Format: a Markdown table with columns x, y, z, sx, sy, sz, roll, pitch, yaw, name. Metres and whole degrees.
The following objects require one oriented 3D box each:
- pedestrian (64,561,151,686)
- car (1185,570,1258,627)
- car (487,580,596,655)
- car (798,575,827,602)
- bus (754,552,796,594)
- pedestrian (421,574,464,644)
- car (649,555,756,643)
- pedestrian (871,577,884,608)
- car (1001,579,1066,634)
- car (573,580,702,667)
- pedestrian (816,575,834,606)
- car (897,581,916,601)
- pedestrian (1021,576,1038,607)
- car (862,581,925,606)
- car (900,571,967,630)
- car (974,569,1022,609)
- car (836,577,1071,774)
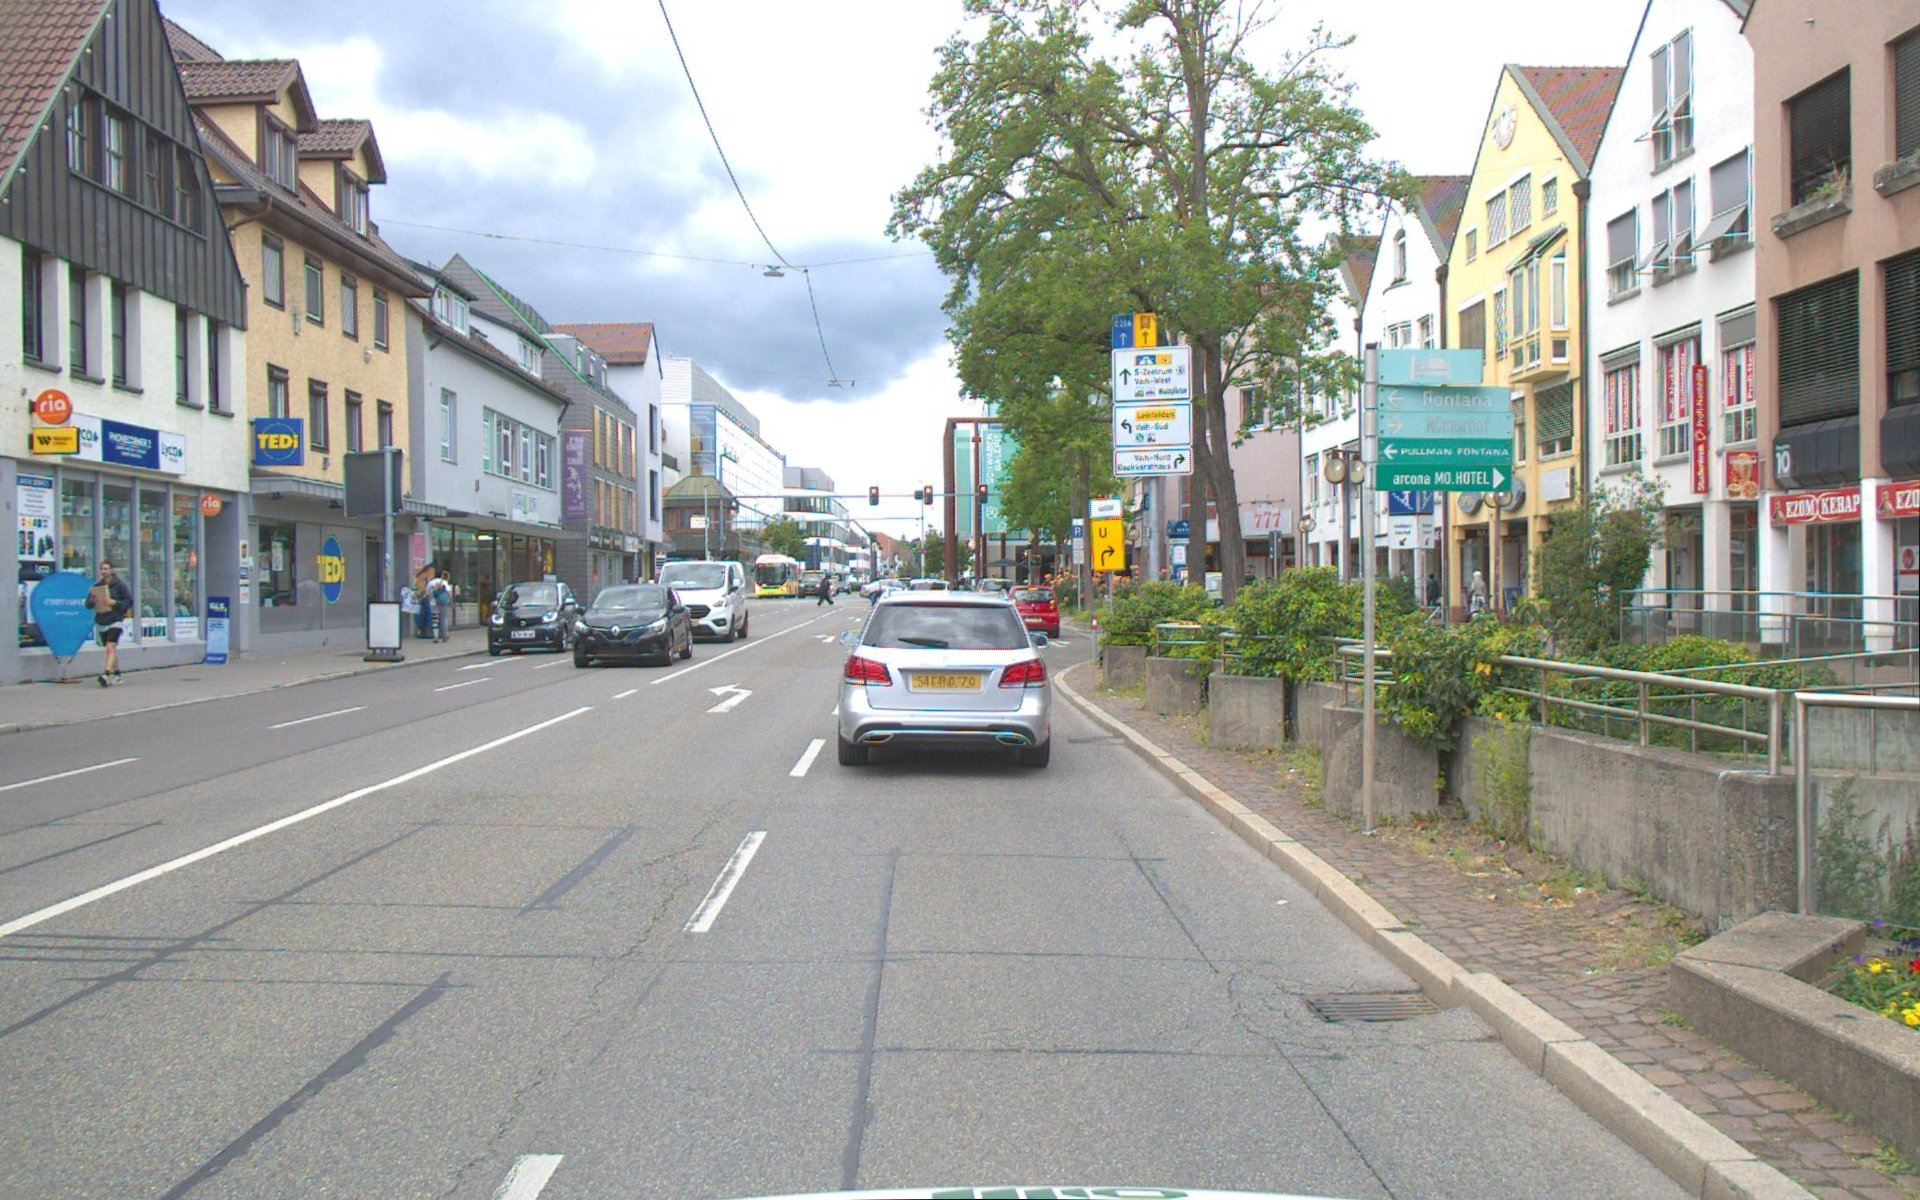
| x | y | z | sx | sy | sz | roll | pitch | yaw | name |
| --- | --- | --- | --- | --- | --- | --- | --- | --- | --- |
| -12.540 | 0.332 | 24.359 | 0.850 | 1.777 | 0.805 | 2 | 1 | -6 | pedestrian |
| 9.113 | -0.074 | 57.892 | 1.829 | 1.897 | 3.999 | -1 | 1 | -1 | car |
| -9.333 | 0.353 | 37.133 | 1.584 | 1.550 | 3.507 | -2 | 1 | -2 | car |
| -11.443 | -0.926 | 128.413 | 1.953 | 2.049 | 3.999 | -1 | 1 | -1 | car |
| -14.462 | -2.090 | 129.577 | 2.719 | 3.220 | 5.932 | -1 | 1 | -1 | bus |
| -12.432 | 0.206 | 39.760 | 0.801 | 1.663 | 0.979 | 1 | 0 | -7 | pedestrian |
| -6.324 | -0.044 | 41.214 | 1.922 | 1.995 | 5.138 | -2 | 1 | -1 | car |
| -4.463 | -0.406 | 89.263 | 0.602 | 1.663 | 0.586 | 2 | 1 | -10 | pedestrian |
| 2.115 | 0.166 | 48.615 | 1.718 | 1.547 | 4.000 | 0 | 0 | 0 | car |
| -5.822 | 0.381 | 30.276 | 1.584 | 1.453 | 3.922 | -1 | 1 | -1 | car |
| -7.424 | -0.501 | 90.833 | 0.840 | 1.663 | 0.588 | 2 | 1 | 0 | pedestrian |
| -5.699 | -0.974 | 176.257 | 1.953 | 2.049 | 3.999 | -1 | 1 | -2 | car |
| 3.819 | -0.466 | 90.992 | 0.817 | 1.663 | 0.587 | 2 | 1 | -5 | pedestrian |
| -4.267 | -0.446 | 106.370 | 4.016 | 1.568 | 1.580 | -1 | 1 | 0 | car |
| -0.824 | -0.004 | 51.011 | 1.953 | 1.713 | 3.999 | -1 | 1 | -1 | car |
| 1.670 | -0.502 | 74.064 | 1.953 | 1.713 | 3.999 | -1 | 1 | -1 | car |
| -0.155 | 0.574 | 14.941 | 1.837 | 1.532 | 3.998 | 0 | 0 | -3 | car |
